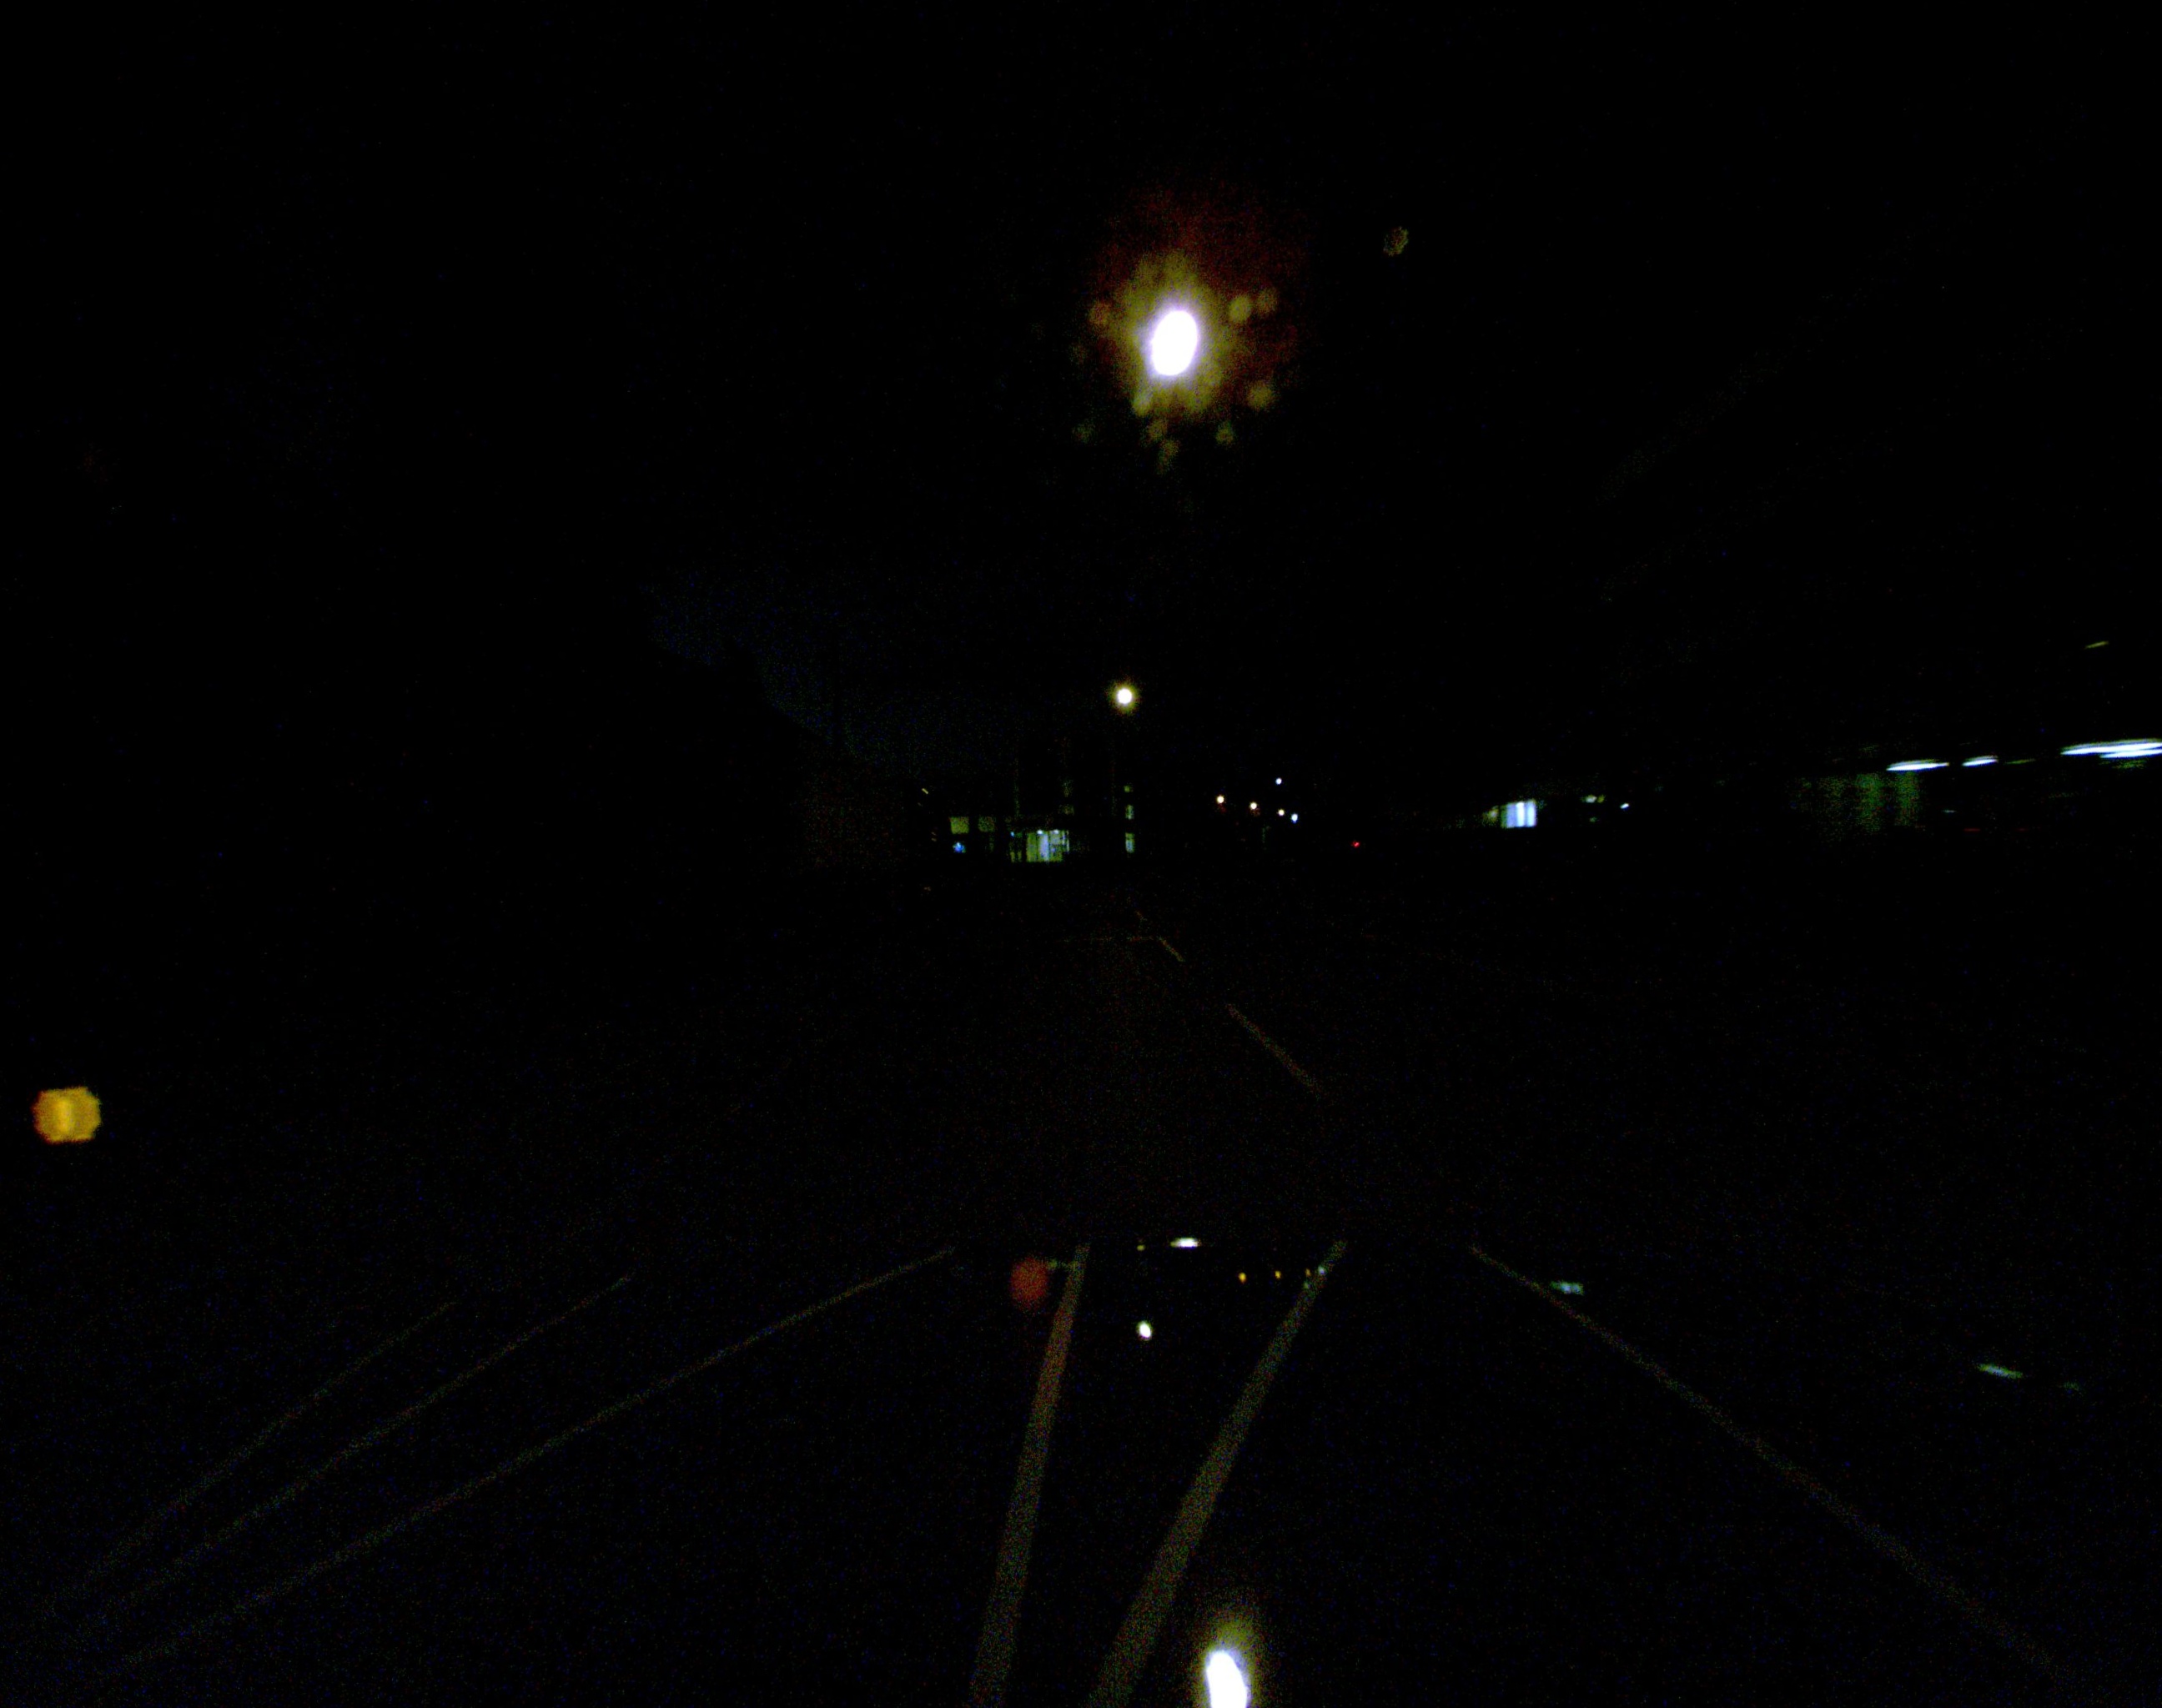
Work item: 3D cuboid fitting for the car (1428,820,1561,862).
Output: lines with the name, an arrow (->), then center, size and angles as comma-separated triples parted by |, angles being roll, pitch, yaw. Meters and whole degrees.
car -> 16.813, -0.532, 31.069 | 4.413, 1.470, 1.851 | -2, 1, 6

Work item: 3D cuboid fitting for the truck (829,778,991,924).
truck -> -5.034, -0.182, 24.512 | 2.762, 3.762, 9.135 | -2, 1, 2

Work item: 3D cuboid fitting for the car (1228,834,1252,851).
car -> 17.484, -1.276, 83.492 | 1.946, 1.708, 5.204 | -1, 1, 18

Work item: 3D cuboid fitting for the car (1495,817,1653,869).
car -> 16.743, -0.377, 25.994 | 4.140, 1.570, 1.842 | -2, 1, 6

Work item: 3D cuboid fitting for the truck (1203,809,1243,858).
truck -> 13.048, -1.908, 69.288 | 2.776, 4.097, 9.349 | -1, 1, 15

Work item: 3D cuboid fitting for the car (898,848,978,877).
car -> -8.333, 0.491, 44.565 | 4.336, 1.637, 1.892 | 1, 1, 1

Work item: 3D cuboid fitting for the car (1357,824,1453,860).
car -> 18.326, -0.694, 43.111 | 4.617, 1.805, 1.963 | -2, 1, 6

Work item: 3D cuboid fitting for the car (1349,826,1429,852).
car -> 19.606, -0.969, 48.533 | 4.413, 1.444, 1.828 | -2, 1, 6

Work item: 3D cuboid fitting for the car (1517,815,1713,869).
car -> 16.236, -0.362, 23.332 | 4.457, 1.444, 2.062 | -2, 1, 9

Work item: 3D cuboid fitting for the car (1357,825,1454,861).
car -> 17.421, -0.604, 40.951 | 4.413, 1.805, 1.963 | -1, 1, 6

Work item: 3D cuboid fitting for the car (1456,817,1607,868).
car -> 16.771, -0.426, 28.466 | 4.414, 1.671, 1.962 | -2, 1, 4

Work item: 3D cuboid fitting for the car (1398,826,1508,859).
car -> 17.611, -0.543, 36.128 | 4.275, 1.386, 1.828 | -2, 1, 6

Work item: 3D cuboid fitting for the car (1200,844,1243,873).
car -> 7.545, 0.202, 41.036 | 1.818, 1.363, 4.361 | -2, 1, 5

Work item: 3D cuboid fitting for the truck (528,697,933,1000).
truck -> -5.433, -0.177, 14.735 | 2.762, 3.762, 10.223 | -2, 1, 1

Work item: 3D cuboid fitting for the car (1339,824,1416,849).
car -> 19.776, -1.166, 50.780 | 4.413, 1.474, 1.892 | -2, 1, 6

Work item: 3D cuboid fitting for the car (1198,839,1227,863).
car -> 9.238, -0.243, 53.227 | 1.869, 1.584, 4.497 | -2, 1, 11

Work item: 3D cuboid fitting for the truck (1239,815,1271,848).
truck -> 23.317, -3.006, 101.432 | 2.749, 4.011, 9.572 | -2, 1, 21

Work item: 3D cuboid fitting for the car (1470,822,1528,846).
car -> 28.196, -1.327, 51.404 | 1.906, 1.449, 4.466 | -3, 1, 7

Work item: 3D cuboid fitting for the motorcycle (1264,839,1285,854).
motorcycle -> 16.375, -0.640, 64.288 | 1.693, 1.095, 0.530 | -5, 3, -16

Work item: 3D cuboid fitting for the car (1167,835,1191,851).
car -> 13.370, -1.478, 103.133 | 1.995, 2.002, 4.918 | -1, 2, 22

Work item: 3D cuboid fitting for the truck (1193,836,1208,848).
truck -> 18.349, -1.847, 116.679 | 1.371, 1.635, 3.817 | -1, 2, 21

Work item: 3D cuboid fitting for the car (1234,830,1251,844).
car -> 31.059, -3.286, 145.887 | 2.131, 2.556, 5.916 | -4, 0, 20

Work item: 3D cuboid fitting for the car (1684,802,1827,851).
car -> 25.674, -1.003, 29.142 | 1.997, 1.632, 4.204 | -3, 1, 6
